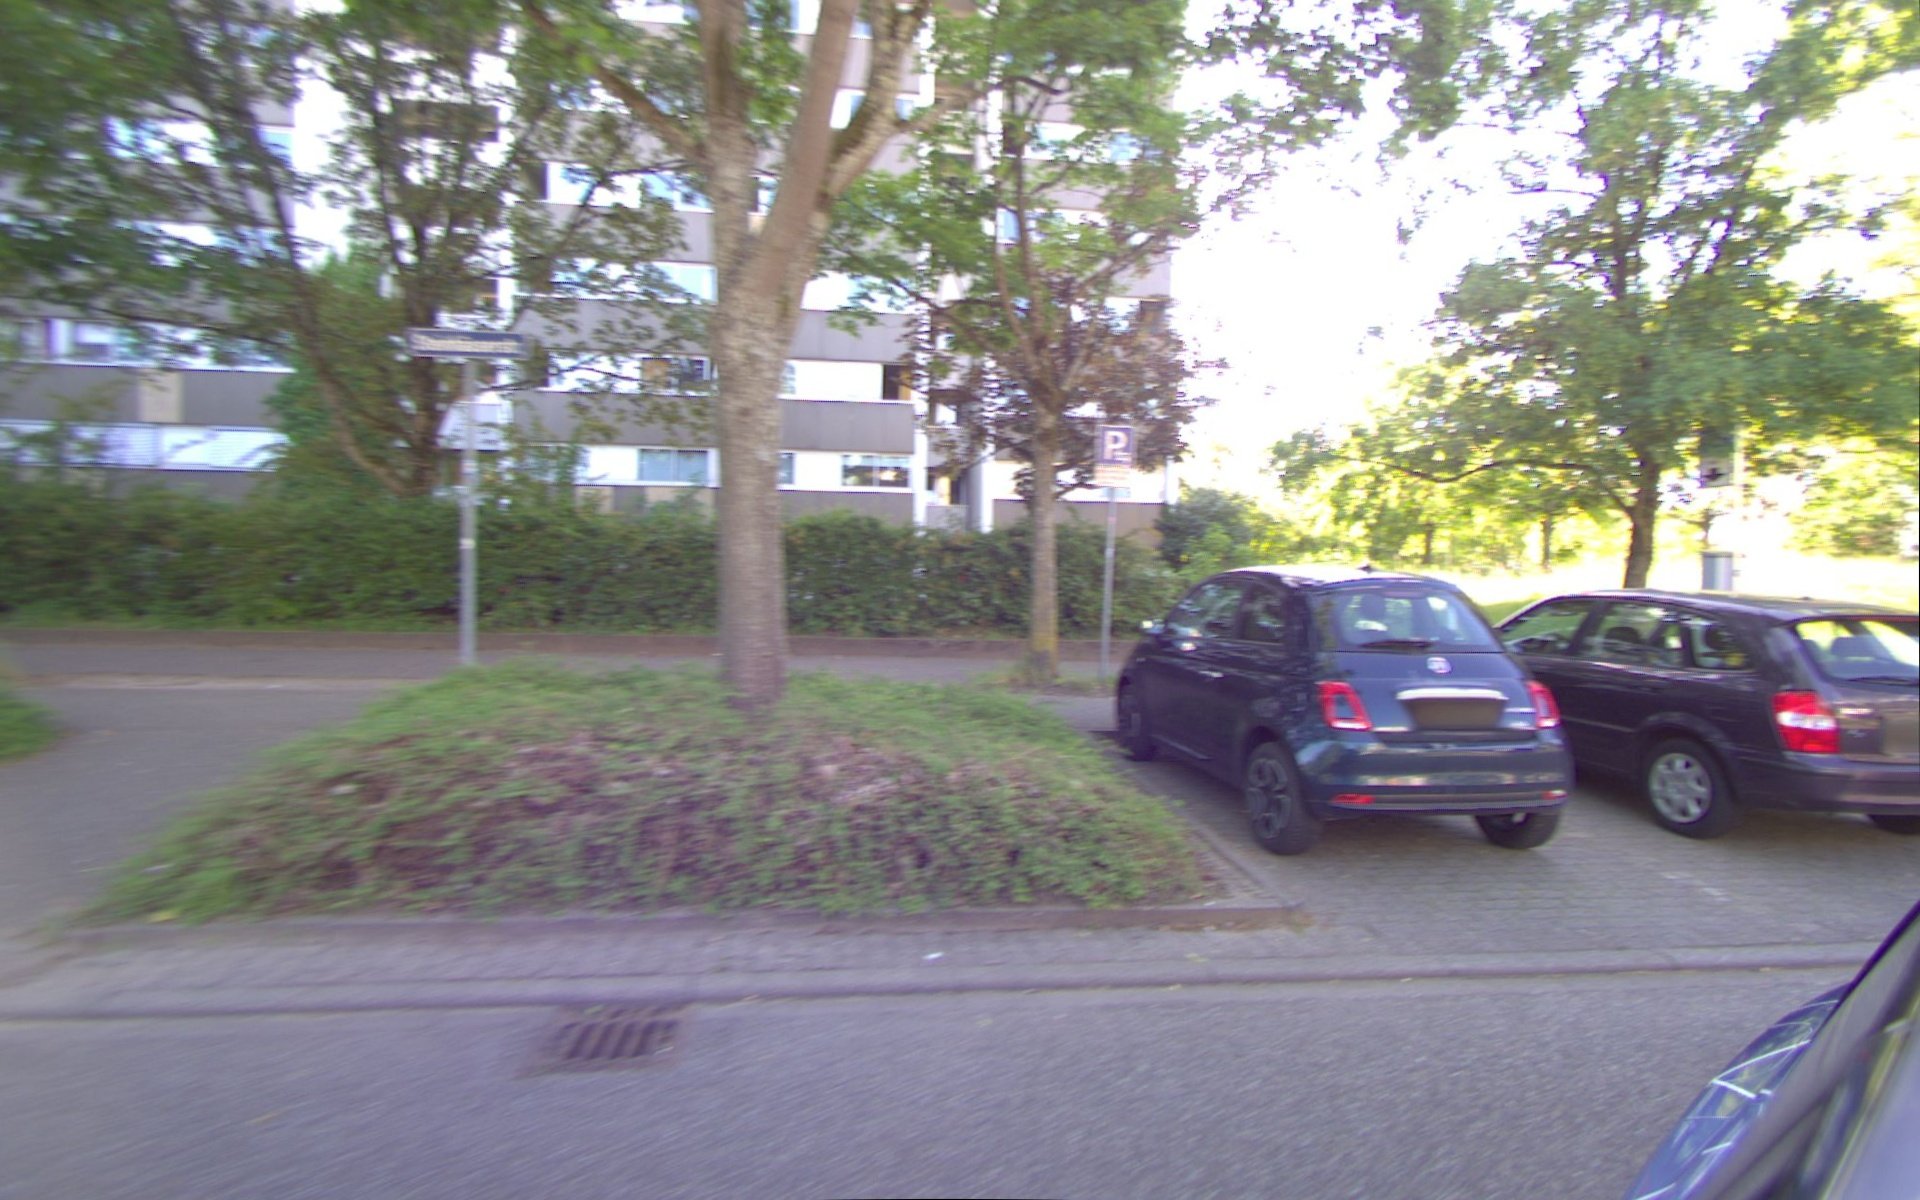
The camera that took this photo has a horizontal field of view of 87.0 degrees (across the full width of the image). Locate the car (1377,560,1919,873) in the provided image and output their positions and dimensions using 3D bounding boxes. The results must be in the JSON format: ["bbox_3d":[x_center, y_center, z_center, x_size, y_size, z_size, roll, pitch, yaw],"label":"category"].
[{"bbox_3d":[4.900,0.521,7.140,1.785,1.403,4.009,1,5,-8],"label":"car"}]

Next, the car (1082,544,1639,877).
[{"bbox_3d":[2.198,0.432,6.796,1.666,1.516,3.831,1,4,-10],"label":"car"}]
